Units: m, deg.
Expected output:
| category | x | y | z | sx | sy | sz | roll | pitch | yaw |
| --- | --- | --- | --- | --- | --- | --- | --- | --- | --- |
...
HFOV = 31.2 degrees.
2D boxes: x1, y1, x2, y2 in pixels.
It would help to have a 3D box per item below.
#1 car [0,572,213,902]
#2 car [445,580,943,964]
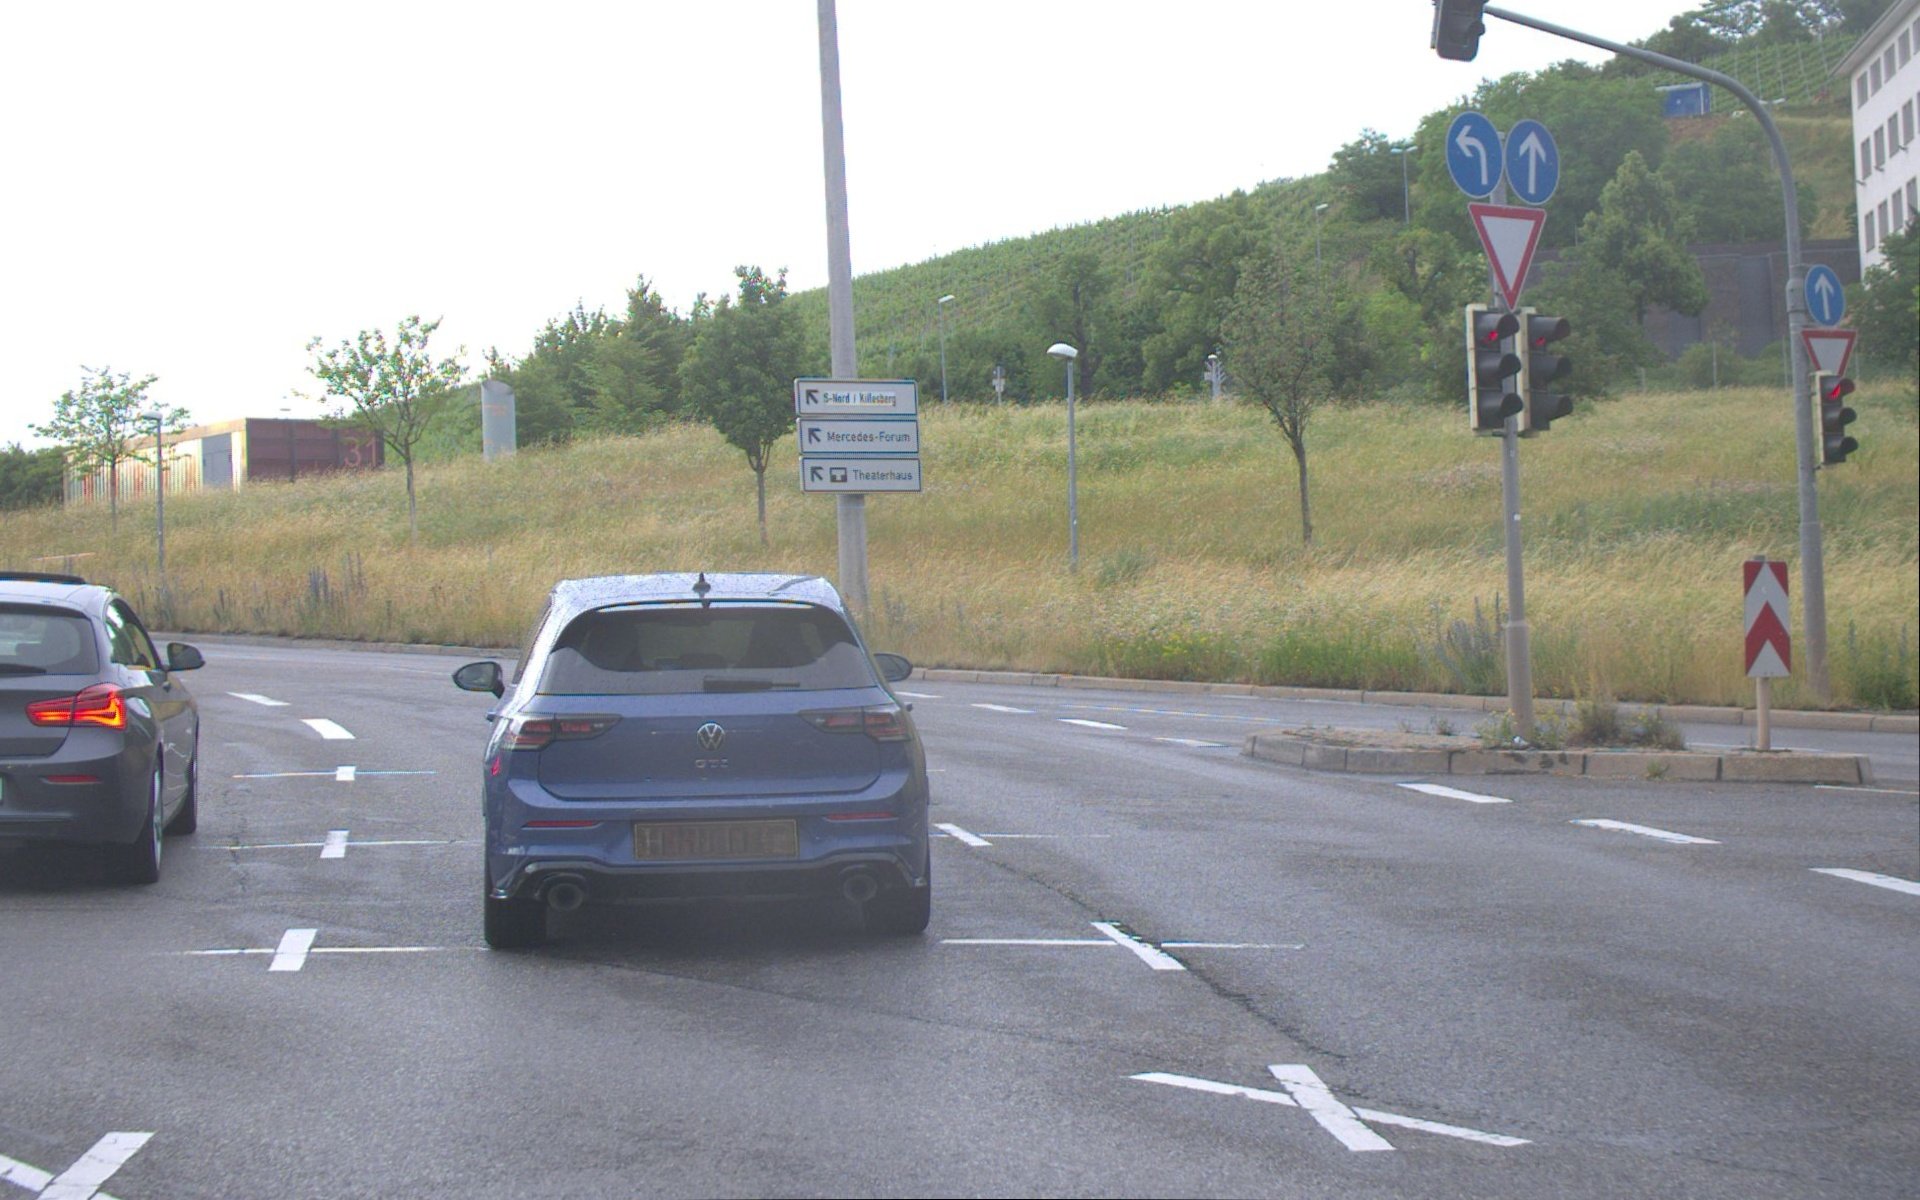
| category | x | y | z | sx | sy | sz | roll | pitch | yaw |
| --- | --- | --- | --- | --- | --- | --- | --- | --- | --- |
| car | -4.806 | 0.598 | 17.107 | 1.868 | 1.456 | 3.977 | 0 | 0 | -9 |
| car | -1.196 | 0.620 | 14.715 | 1.837 | 1.389 | 4.001 | 0 | 1 | -6 |
